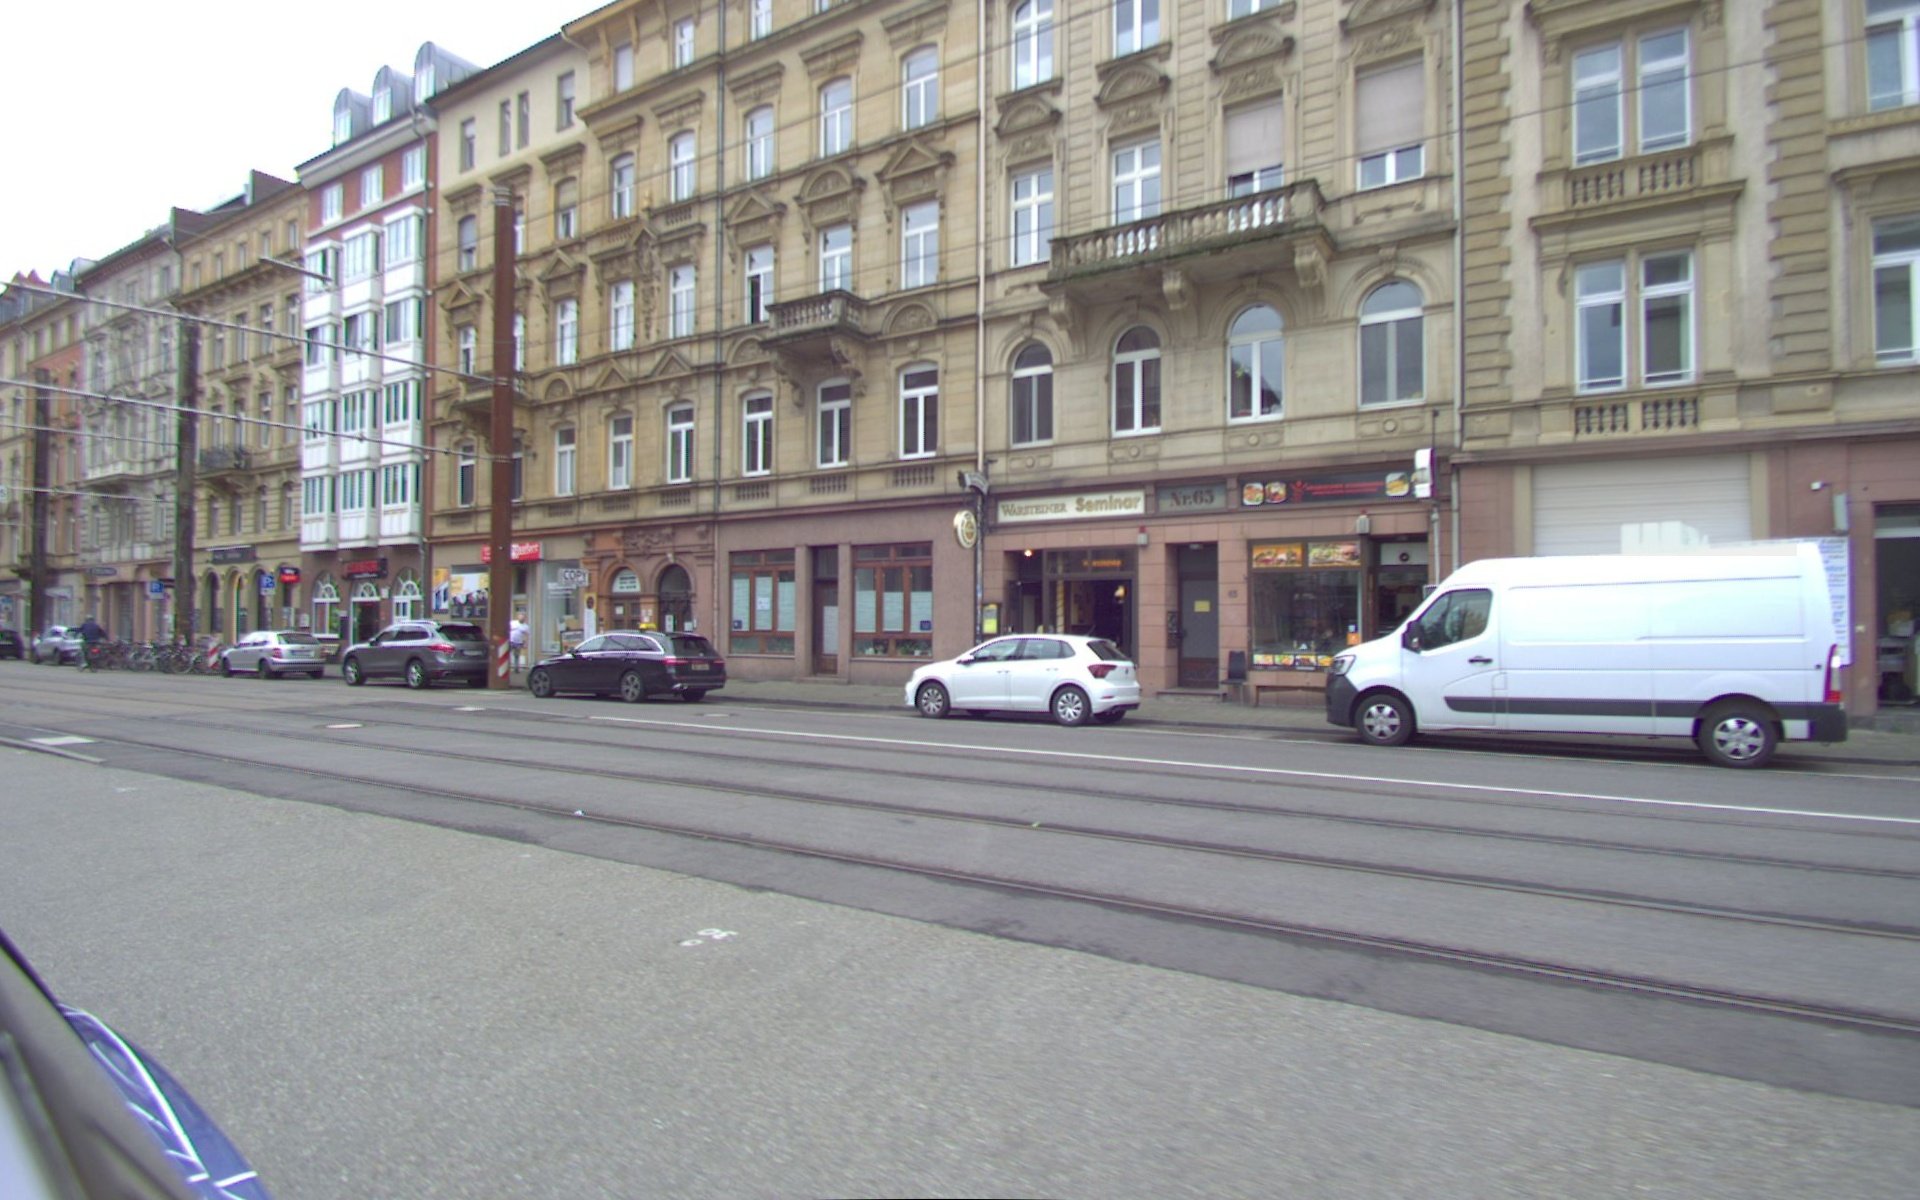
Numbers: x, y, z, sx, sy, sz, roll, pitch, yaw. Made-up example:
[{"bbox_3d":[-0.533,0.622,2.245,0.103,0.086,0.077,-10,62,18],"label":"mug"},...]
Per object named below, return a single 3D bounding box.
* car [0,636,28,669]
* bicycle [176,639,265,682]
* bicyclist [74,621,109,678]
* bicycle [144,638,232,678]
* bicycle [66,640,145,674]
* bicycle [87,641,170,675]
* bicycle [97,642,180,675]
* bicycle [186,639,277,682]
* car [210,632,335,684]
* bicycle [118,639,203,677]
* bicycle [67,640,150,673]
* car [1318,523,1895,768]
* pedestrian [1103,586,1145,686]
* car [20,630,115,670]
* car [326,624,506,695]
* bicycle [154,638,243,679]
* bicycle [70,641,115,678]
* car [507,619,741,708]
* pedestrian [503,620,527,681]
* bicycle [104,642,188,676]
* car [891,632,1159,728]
[{"bbox_3d":[-44.715,2.417,46.578,3.909,1.500,1.729,-2,-3,33],"label":"car"},{"bbox_3d":[-24.280,1.992,33.268,0.519,1.339,2.264,-1,-4,32],"label":"bicycle"},{"bbox_3d":[-29.361,1.667,34.203,1.026,1.897,0.640,-1,-1,34],"label":"bicyclist"},{"bbox_3d":[-26.523,2.005,34.829,0.664,1.339,2.264,-1,-4,32],"label":"bicycle"},{"bbox_3d":[-32.830,2.164,38.934,0.546,1.212,2.264,-1,-2,32],"label":"bicycle"},{"bbox_3d":[-31.124,2.183,37.932,0.703,1.212,2.264,-1,-4,32],"label":"bicycle"},{"bbox_3d":[-30.450,2.180,37.550,0.664,1.212,2.264,-1,-4,32],"label":"bicycle"},{"bbox_3d":[-23.650,1.961,32.918,0.664,1.339,2.264,-1,-4,32],"label":"bicycle"},{"bbox_3d":[-21.221,1.768,31.220,3.907,1.500,1.730,-1,-3,32],"label":"car"},{"bbox_3d":[-28.798,2.091,36.497,0.664,1.339,2.264,-1,-4,32],"label":"bicycle"},{"bbox_3d":[-32.331,2.163,38.445,0.703,1.212,2.264,-1,-4,32],"label":"bicycle"},{"bbox_3d":[7.631,0.564,12.713,5.646,2.506,2.037,-1,-4,32],"label":"car"},{"bbox_3d":[3.385,0.733,20.962,0.737,2.029,0.709,0,-1,2],"label":"pedestrian"},{"bbox_3d":[-36.363,2.023,41.204,4.211,1.545,1.730,-2,-3,32],"label":"car"},{"bbox_3d":[-14.354,1.538,26.636,5.011,1.703,1.800,-1,-3,30],"label":"car"},{"bbox_3d":[-25.835,1.995,34.372,0.664,1.339,2.264,-1,-4,32],"label":"bicycle"},{"bbox_3d":[-29.310,1.998,34.175,2.039,1.183,0.580,-1,-4,34],"label":"bicycle"},{"bbox_3d":[-7.247,1.323,21.662,5.034,1.702,1.905,-1,-4,31],"label":"car"},{"bbox_3d":[-13.344,1.504,30.363,0.643,1.796,0.788,0,-1,-21],"label":"pedestrian"},{"bbox_3d":[-29.851,2.164,37.167,0.664,1.212,2.264,-1,-4,32],"label":"bicycle"},{"bbox_3d":[1.053,1.287,16.951,4.150,1.434,1.758,-1,-4,31],"label":"car"}]
